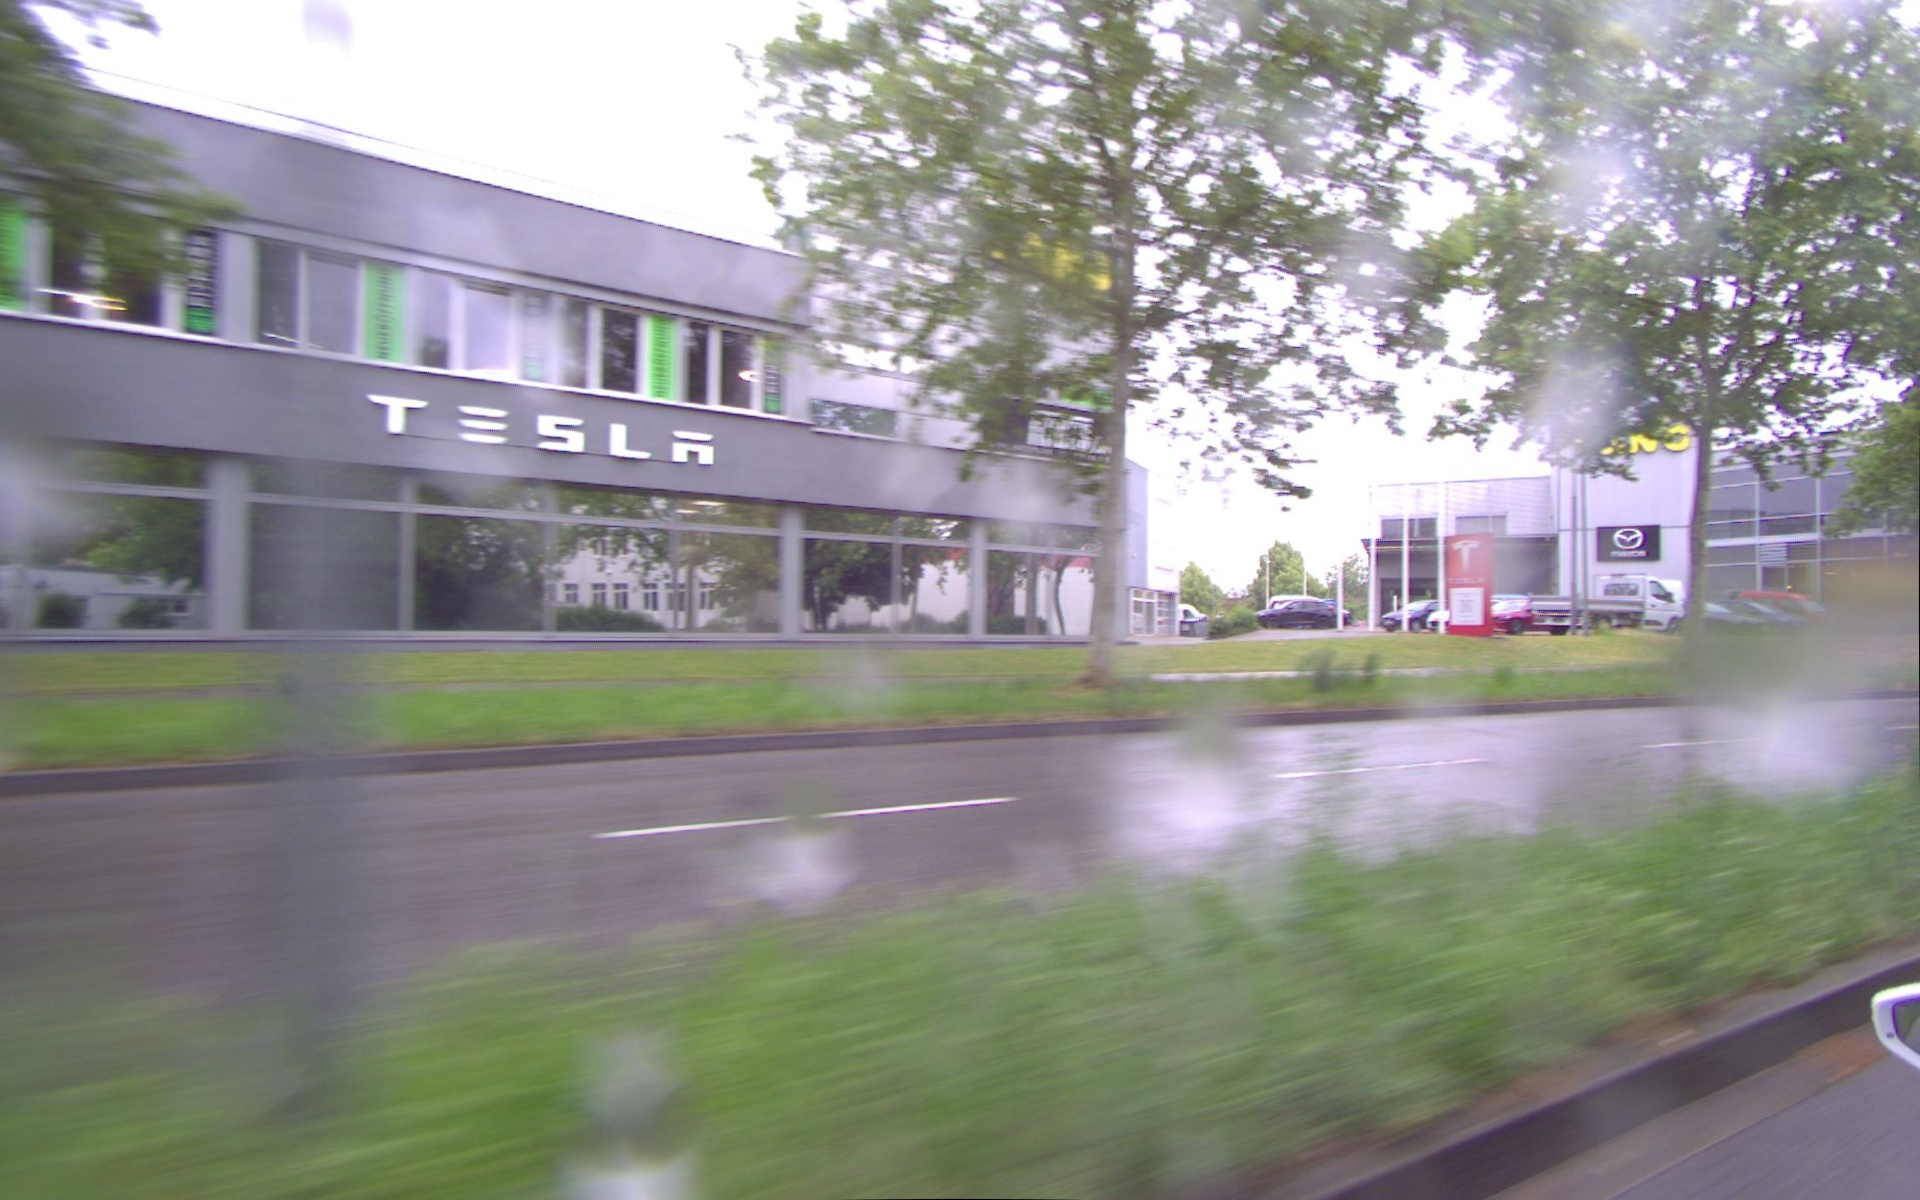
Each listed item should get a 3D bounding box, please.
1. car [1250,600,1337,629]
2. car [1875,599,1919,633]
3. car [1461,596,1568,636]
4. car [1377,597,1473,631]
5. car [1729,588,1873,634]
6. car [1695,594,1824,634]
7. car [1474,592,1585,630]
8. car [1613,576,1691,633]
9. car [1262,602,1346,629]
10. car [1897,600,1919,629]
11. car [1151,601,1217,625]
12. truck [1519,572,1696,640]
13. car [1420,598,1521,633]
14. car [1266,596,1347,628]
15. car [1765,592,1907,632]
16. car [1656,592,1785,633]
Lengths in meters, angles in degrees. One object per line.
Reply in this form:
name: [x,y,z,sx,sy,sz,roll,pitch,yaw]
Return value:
car: [17.377,0.745,52.489,4.072,1.415,1.769,0,1,8]
car: [42.582,0.728,43.582,1.830,1.376,3.966,-1,3,-37]
car: [22.392,0.626,40.543,4.101,1.487,1.757,-1,1,-26]
car: [21.074,0.621,45.523,4.101,1.415,1.757,-1,1,-26]
car: [33.353,0.386,39.974,1.819,1.578,3.990,0,3,-19]
car: [30.937,0.510,38.969,1.741,1.344,3.518,0,3,-19]
car: [28.614,0.526,50.595,4.562,1.788,1.820,1,1,20]
car: [35.711,0.190,51.979,2.129,2.789,5.336,2,1,22]
car: [18.721,0.845,54.828,4.072,1.415,1.769,0,1,8]
car: [50.520,0.752,50.678,1.896,1.493,4.404,1,0,-28]
car: [17.412,1.014,78.102,4.632,1.752,1.980,1,1,34]
truck: [24.213,0.154,37.596,6.097,2.376,2.244,0,3,-19]
car: [22.055,0.634,43.387,4.101,1.415,1.757,-1,1,-26]
car: [19.904,0.667,57.775,4.075,1.752,1.768,0,1,-2]
car: [35.904,0.451,41.303,1.819,1.376,3.990,0,3,-19]
car: [28.816,0.421,38.191,1.741,1.344,3.518,0,3,-19]
